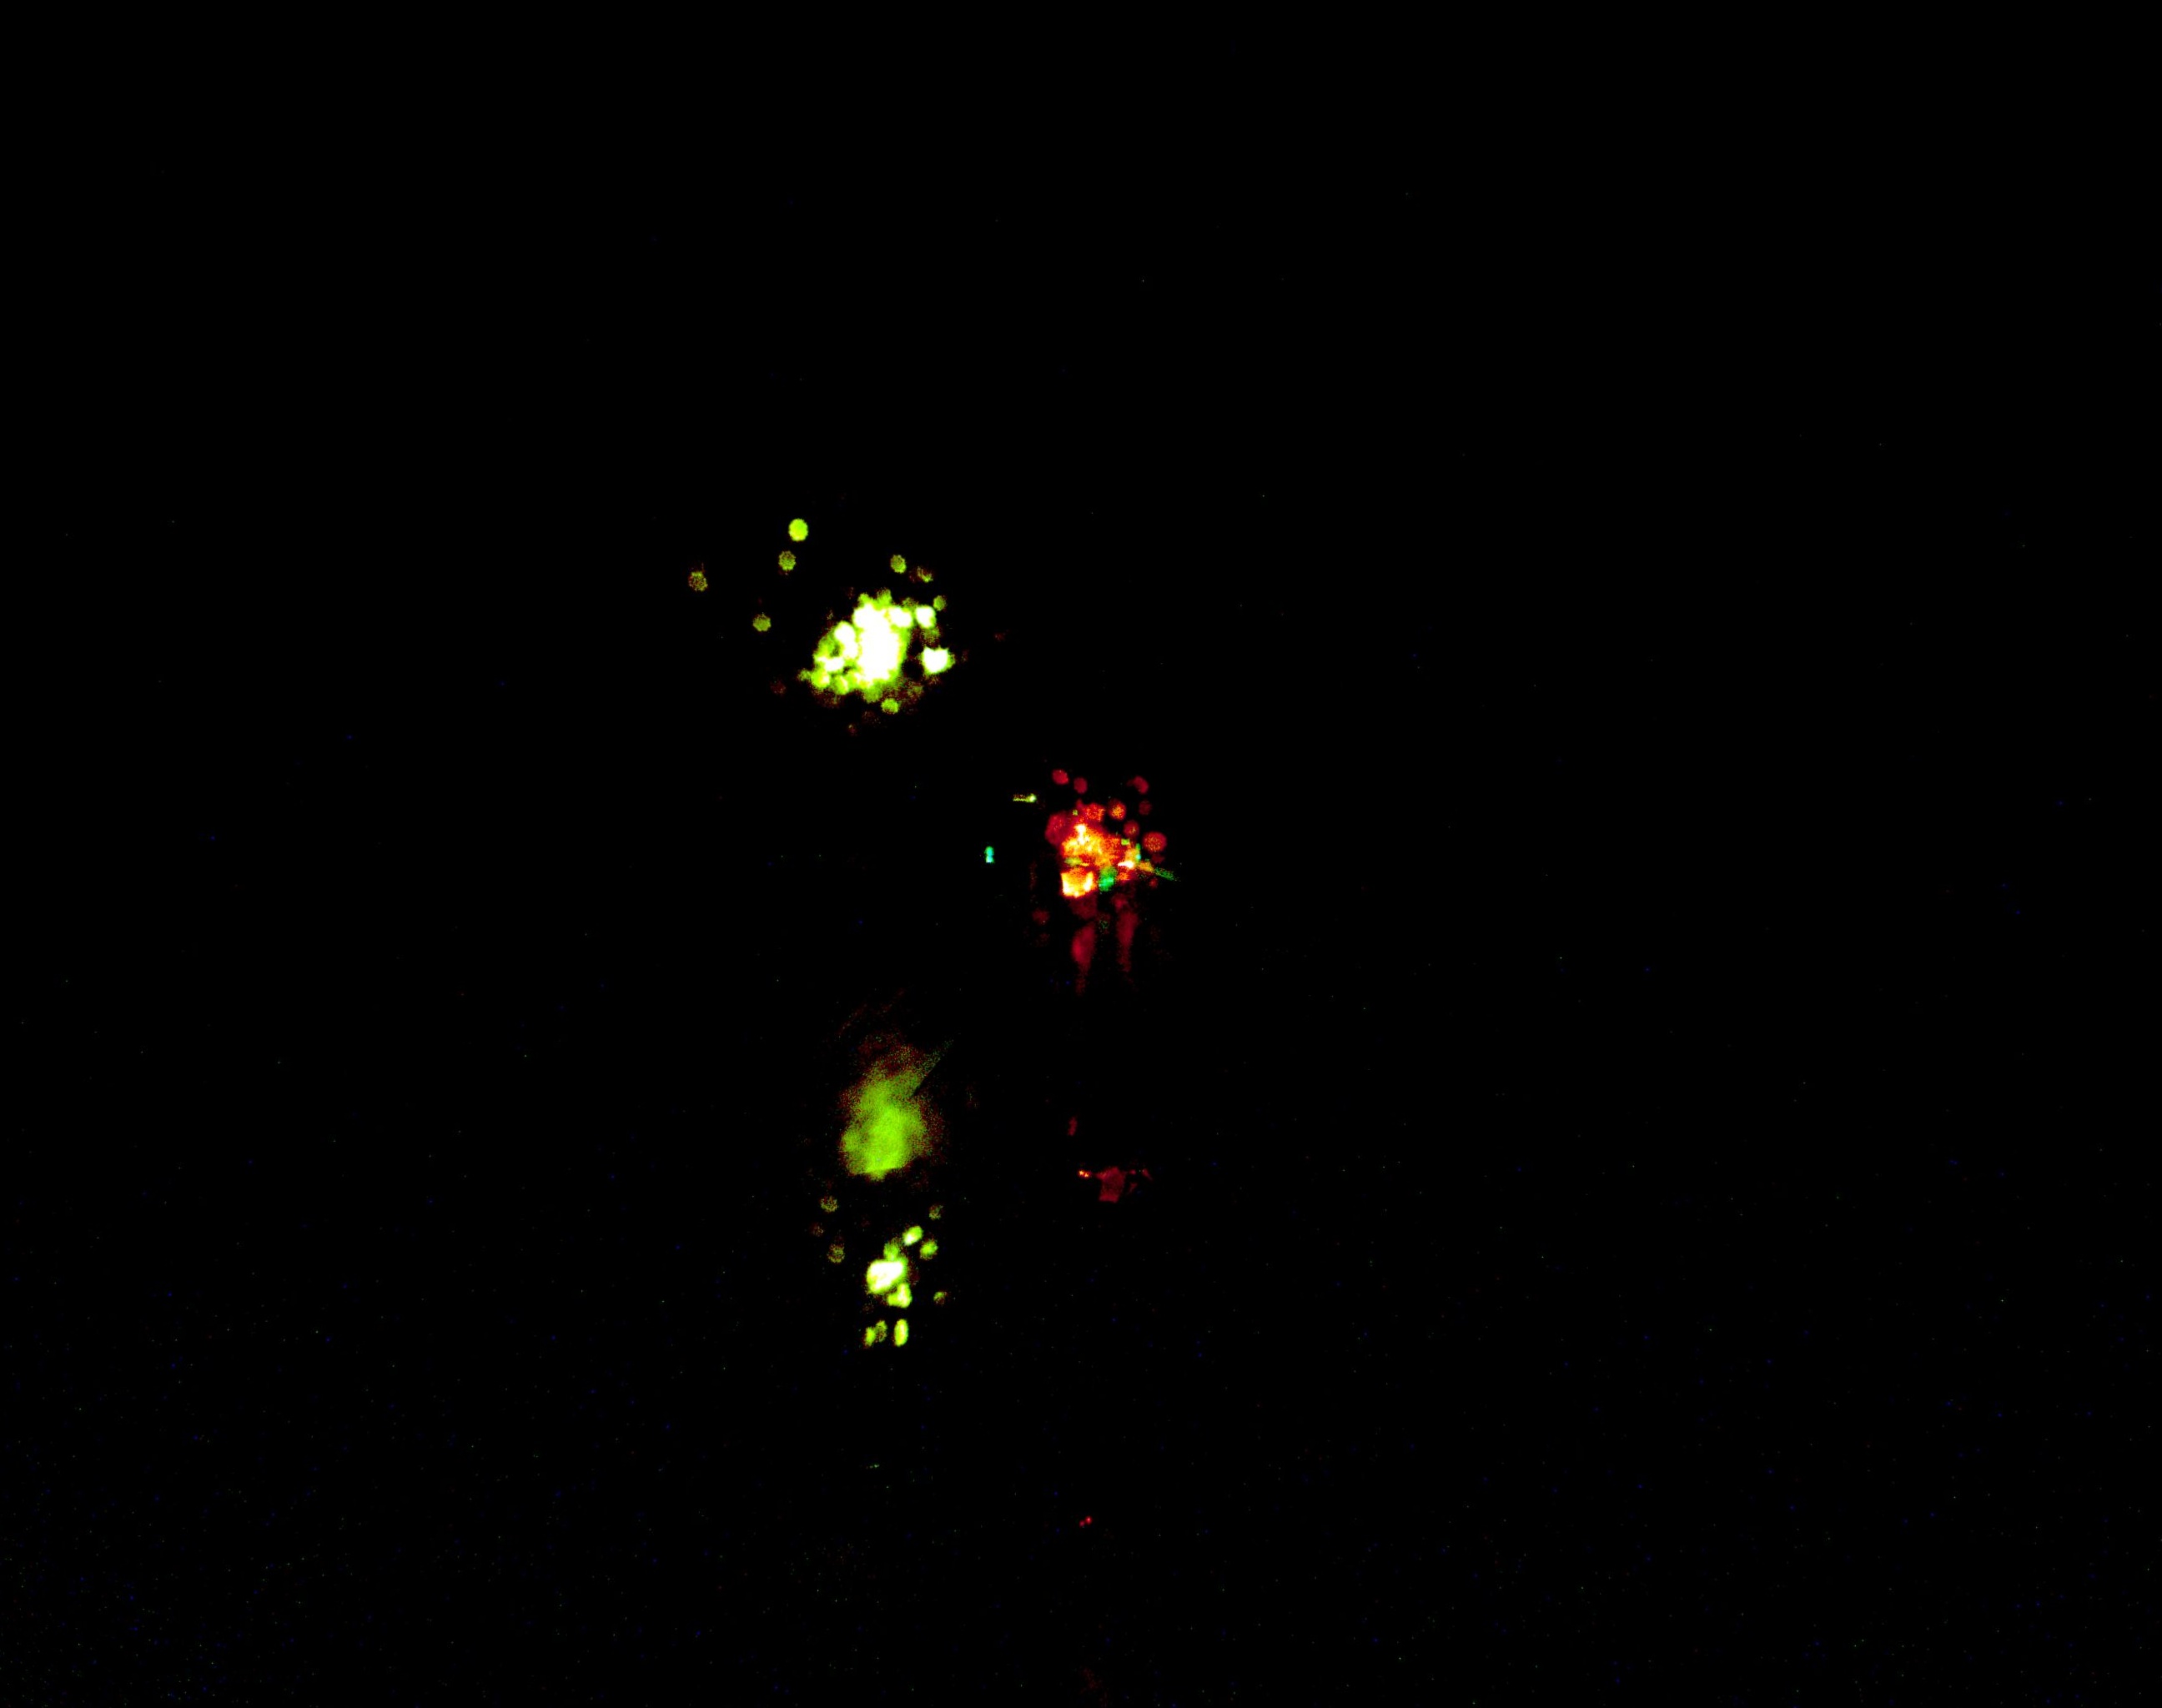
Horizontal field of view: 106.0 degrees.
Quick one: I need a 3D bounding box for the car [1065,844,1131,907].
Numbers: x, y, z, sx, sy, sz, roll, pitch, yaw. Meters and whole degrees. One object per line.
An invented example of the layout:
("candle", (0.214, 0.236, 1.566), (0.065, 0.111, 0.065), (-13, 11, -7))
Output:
("car", (0.545, 0.577, 24.332), (1.784, 1.681, 3.907), (-1, 1, 2))
